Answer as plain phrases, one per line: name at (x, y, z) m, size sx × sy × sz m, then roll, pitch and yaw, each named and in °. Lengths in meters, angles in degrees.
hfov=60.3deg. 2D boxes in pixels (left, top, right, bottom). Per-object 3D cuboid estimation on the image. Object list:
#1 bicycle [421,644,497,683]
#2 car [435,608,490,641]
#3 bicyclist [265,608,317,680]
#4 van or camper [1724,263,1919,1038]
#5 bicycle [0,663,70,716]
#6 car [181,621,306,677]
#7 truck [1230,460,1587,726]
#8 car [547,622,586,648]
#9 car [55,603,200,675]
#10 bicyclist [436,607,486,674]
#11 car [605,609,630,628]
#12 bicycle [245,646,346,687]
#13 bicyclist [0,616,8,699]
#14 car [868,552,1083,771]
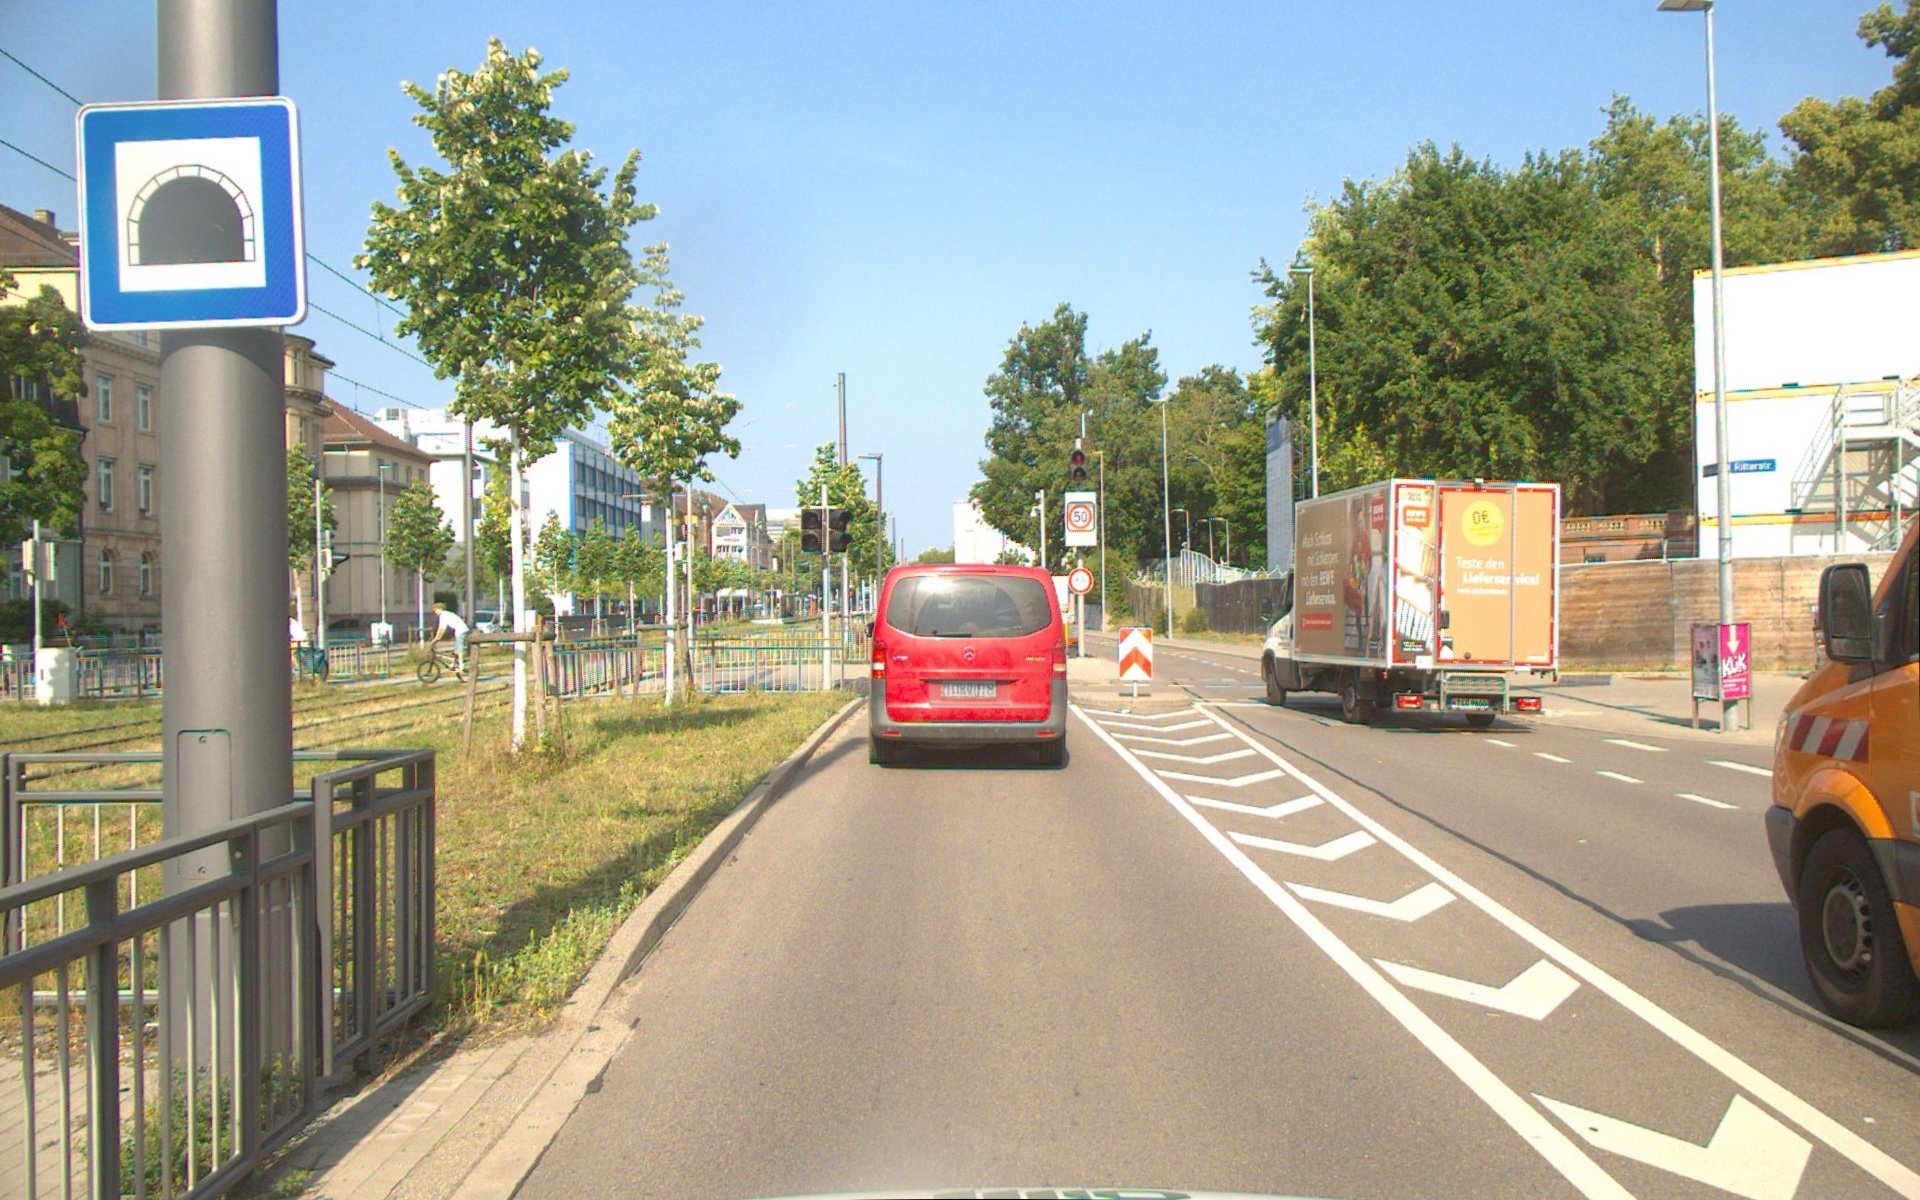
bicycle at (-11.159, 1.406, 36.901) m, size 0.704 × 0.812 × 1.602 m, roll 0°, pitch -1°, yaw 27°
car at (-33.043, 1.673, 110.071) m, size 2.204 × 2.049 × 5.259 m, roll 1°, pitch -2°, yaw -3°
bicyclist at (-14.544, 0.942, 35.967) m, size 0.968 × 1.526 × 0.617 m, roll -1°, pitch 0°, yaw -18°
van or camper at (4.036, 0.172, 3.763) m, size 1.945 × 2.515 × 6.063 m, roll 1°, pitch 0°, yaw 2°
bicycle at (-19.471, 1.809, 32.970) m, size 2.962 × 0.982 × 0.889 m, roll -1°, pitch -1°, yaw -35°
car at (-21.282, 1.419, 49.324) m, size 1.954 × 1.539 × 4.395 m, roll -1°, pitch 0°, yaw -3°
truck at (5.976, -0.023, 23.536) m, size 2.453 × 3.114 × 7.813 m, roll 1°, pitch -1°, yaw -4°
car at (-28.805, 2.565, 121.112) m, size 1.878 × 1.845 × 3.999 m, roll 1°, pitch -1°, yaw 0°
car at (-25.486, 1.161, 50.853) m, size 1.954 × 2.049 × 5.299 m, roll -1°, pitch 0°, yaw -3°
bicyclist at (-11.145, 0.895, 36.939) m, size 0.672 × 1.466 × 0.805 m, roll 0°, pitch -1°, yaw 28°
car at (-29.524, 1.593, 142.635) m, size 1.488 × 1.489 × 3.823 m, roll -2°, pitch 1°, yaw -3°
bicycle at (-14.444, 1.437, 35.990) m, size 1.965 × 0.807 × 0.626 m, roll -1°, pitch 0°, yaw -18°
bicyclist at (-19.531, 1.152, 32.965) m, size 0.882 × 1.657 × 0.881 m, roll -1°, pitch -1°, yaw -34°
car at (0.143, 0.548, 16.490) m, size 1.862 × 1.892 × 4.000 m, roll 1°, pitch 0°, yaw 0°
